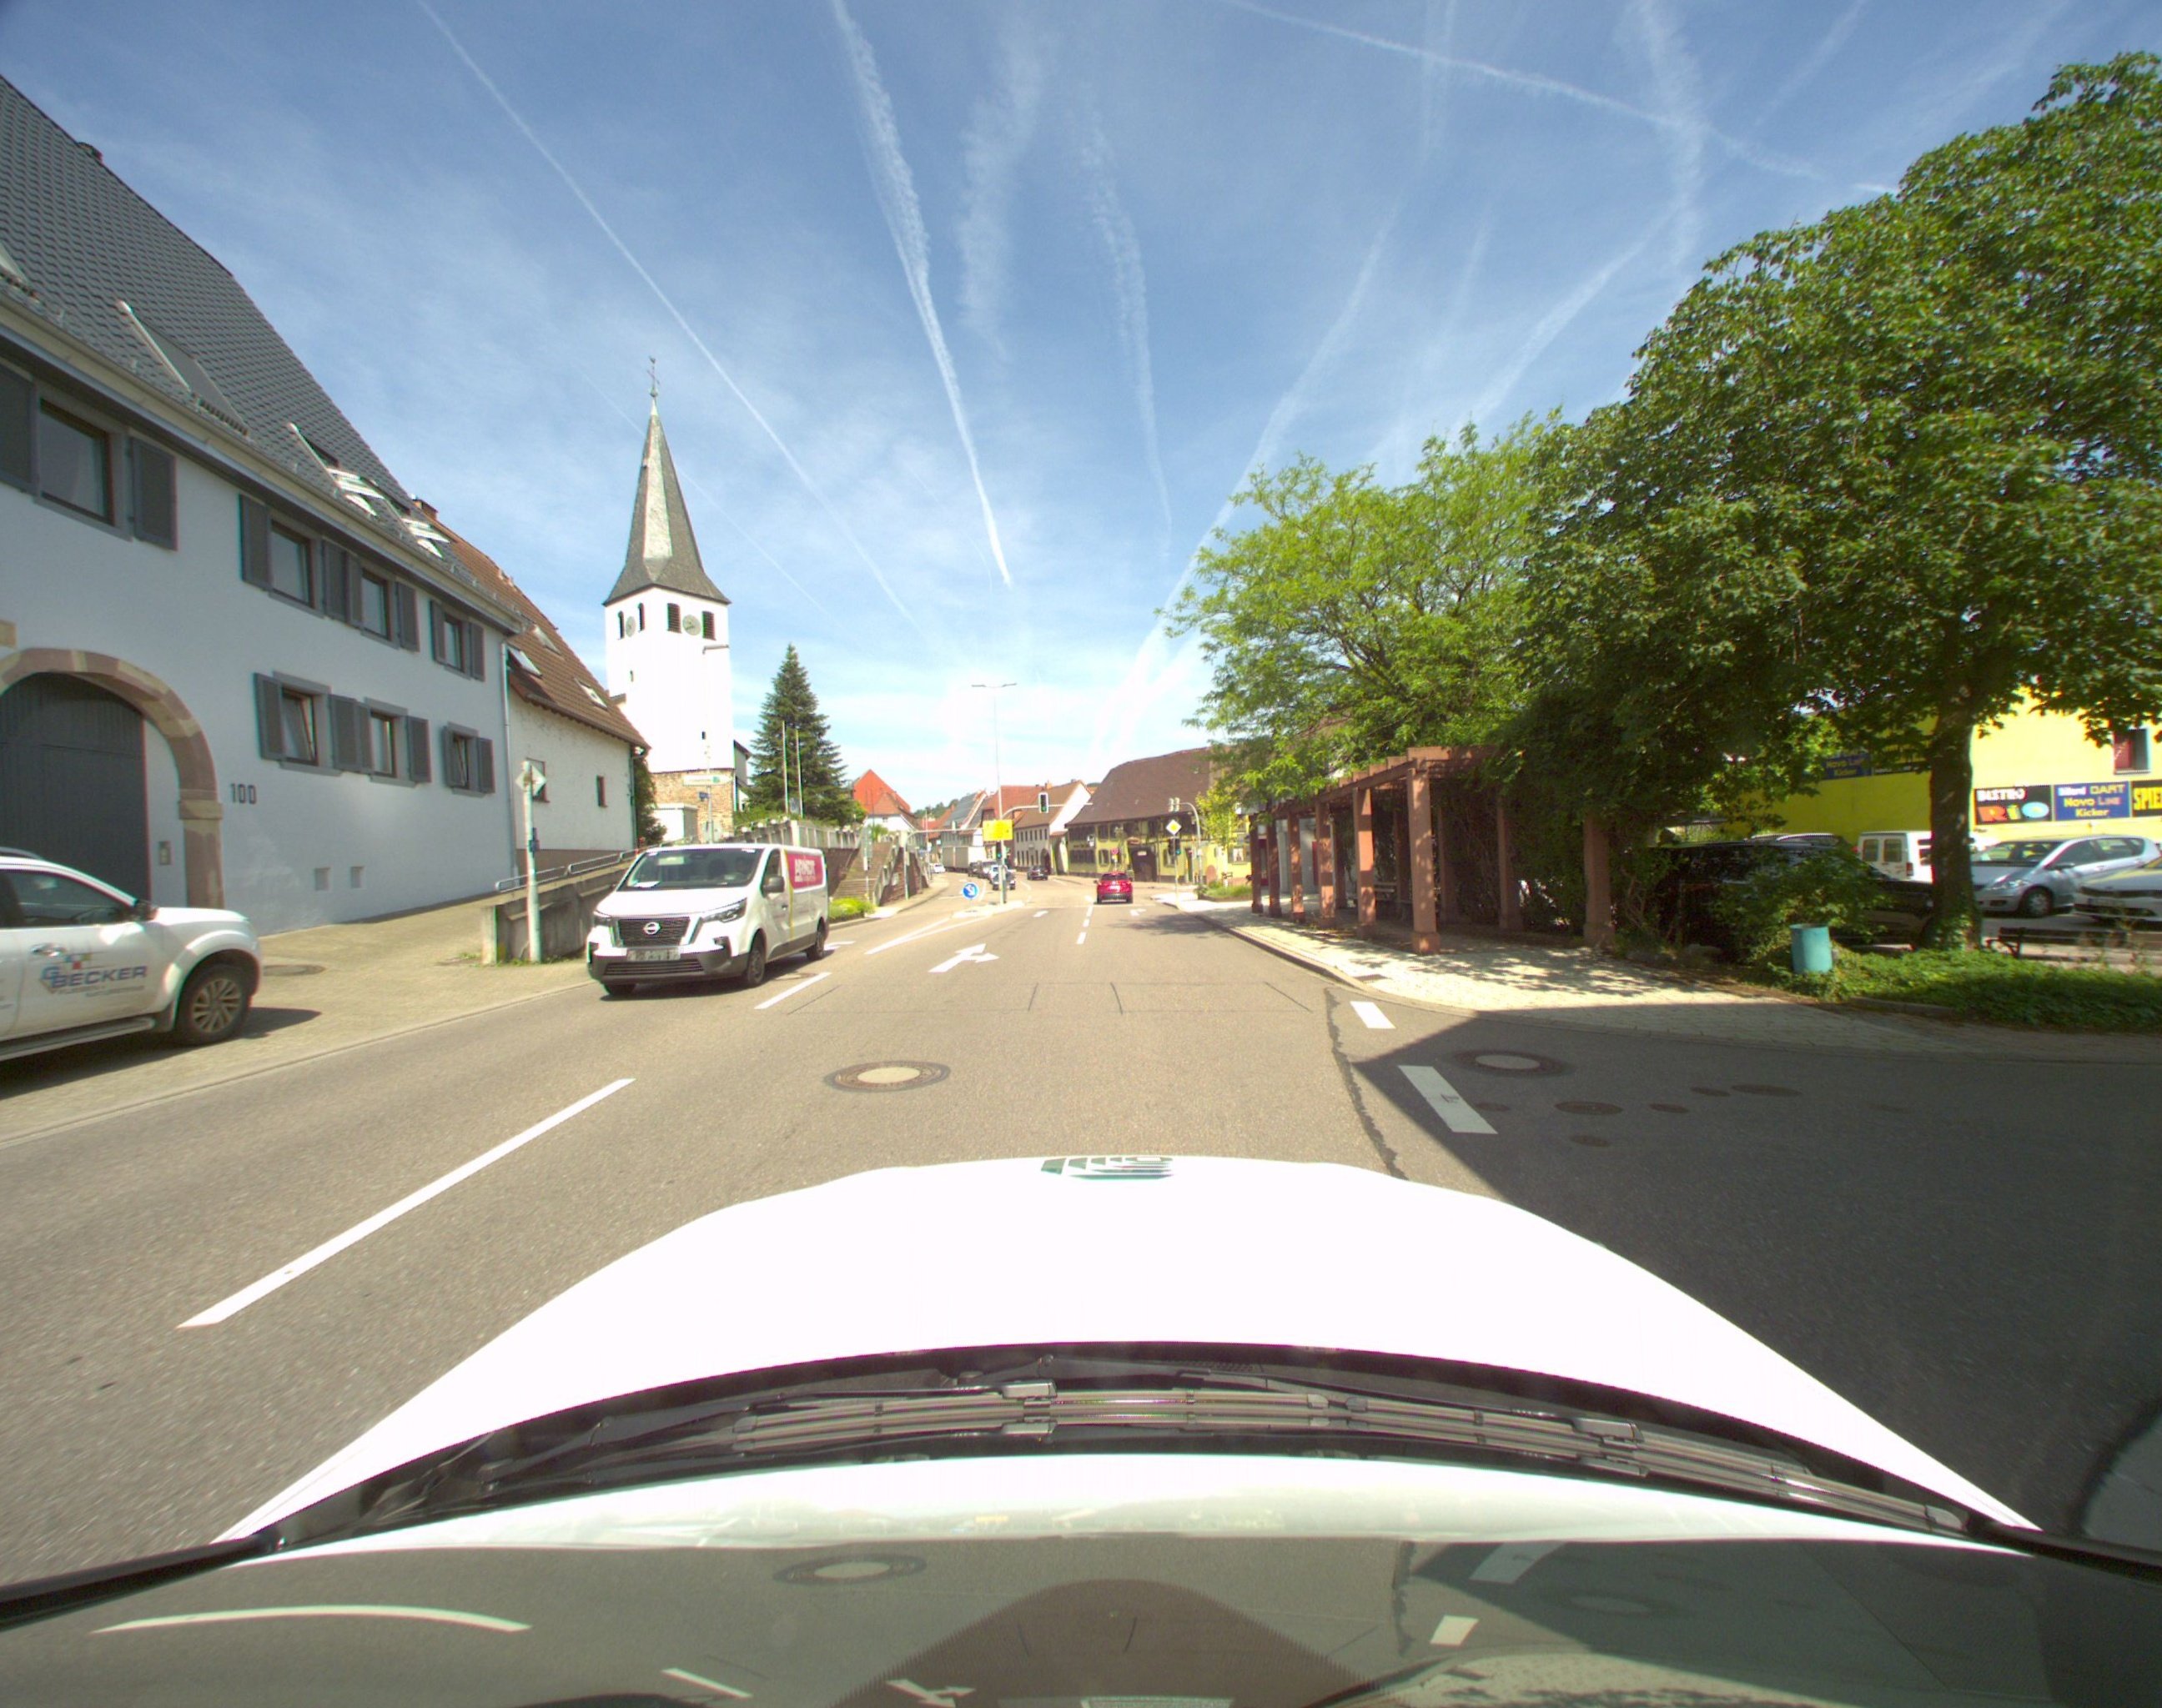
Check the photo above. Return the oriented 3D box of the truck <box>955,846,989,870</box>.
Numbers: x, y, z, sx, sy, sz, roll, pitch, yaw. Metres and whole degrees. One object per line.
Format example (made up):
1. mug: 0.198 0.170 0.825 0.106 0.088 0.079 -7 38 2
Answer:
1. truck: -16.600 0.555 123.884 3.234 3.549 9.167 0 0 -20

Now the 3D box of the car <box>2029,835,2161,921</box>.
1. car: 20.425 0.379 15.073 3.860 1.491 1.653 -2 -2 -2

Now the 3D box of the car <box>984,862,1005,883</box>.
1. car: -9.104 1.906 85.395 1.820 1.906 4.948 -2 1 -10

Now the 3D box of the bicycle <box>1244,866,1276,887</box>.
1. bicycle: 11.063 1.384 50.457 1.797 1.234 0.550 -3 -1 1

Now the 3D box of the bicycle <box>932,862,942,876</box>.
1. bicycle: -16.377 1.688 92.897 0.555 1.607 2.564 0 0 2

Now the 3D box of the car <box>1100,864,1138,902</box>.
1. car: 2.003 1.468 42.504 1.796 1.663 3.817 -3 1 4

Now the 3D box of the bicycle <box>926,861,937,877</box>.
1. bicycle: -17.095 1.680 93.035 0.638 1.779 2.672 0 0 2

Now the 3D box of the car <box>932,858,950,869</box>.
1. car: -22.327 1.500 129.716 1.795 1.526 3.971 -3 1 -25

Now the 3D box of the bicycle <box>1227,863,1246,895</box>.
1. bicycle: 6.726 1.069 35.242 0.527 1.279 1.995 -5 -1 5

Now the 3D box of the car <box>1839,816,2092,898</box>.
1. car: 21.454 0.081 19.885 4.163 1.740 1.883 -2 -1 -2

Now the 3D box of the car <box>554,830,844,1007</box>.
1. car: -5.165 0.739 12.057 1.965 1.933 5.307 -3 0 -4

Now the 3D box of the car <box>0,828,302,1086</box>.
1. car: -8.476 0.746 5.707 1.806 1.798 5.264 -2 -2 -12

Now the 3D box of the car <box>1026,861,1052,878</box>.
1. car: -4.663 1.645 89.212 1.825 1.738 3.982 -3 1 -17

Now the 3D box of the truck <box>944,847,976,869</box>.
1. truck: -19.888 0.737 133.196 3.169 3.460 10.641 0 -1 -19

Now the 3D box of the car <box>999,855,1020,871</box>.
1. car: -9.413 1.202 107.014 1.852 2.014 3.974 0 0 -20

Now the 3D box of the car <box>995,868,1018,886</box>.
1. car: -6.642 2.006 72.052 1.819 1.434 4.238 -2 0 -7

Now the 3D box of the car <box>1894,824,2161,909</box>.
1. car: 20.477 0.267 17.656 3.961 1.611 1.755 -2 -1 -2
